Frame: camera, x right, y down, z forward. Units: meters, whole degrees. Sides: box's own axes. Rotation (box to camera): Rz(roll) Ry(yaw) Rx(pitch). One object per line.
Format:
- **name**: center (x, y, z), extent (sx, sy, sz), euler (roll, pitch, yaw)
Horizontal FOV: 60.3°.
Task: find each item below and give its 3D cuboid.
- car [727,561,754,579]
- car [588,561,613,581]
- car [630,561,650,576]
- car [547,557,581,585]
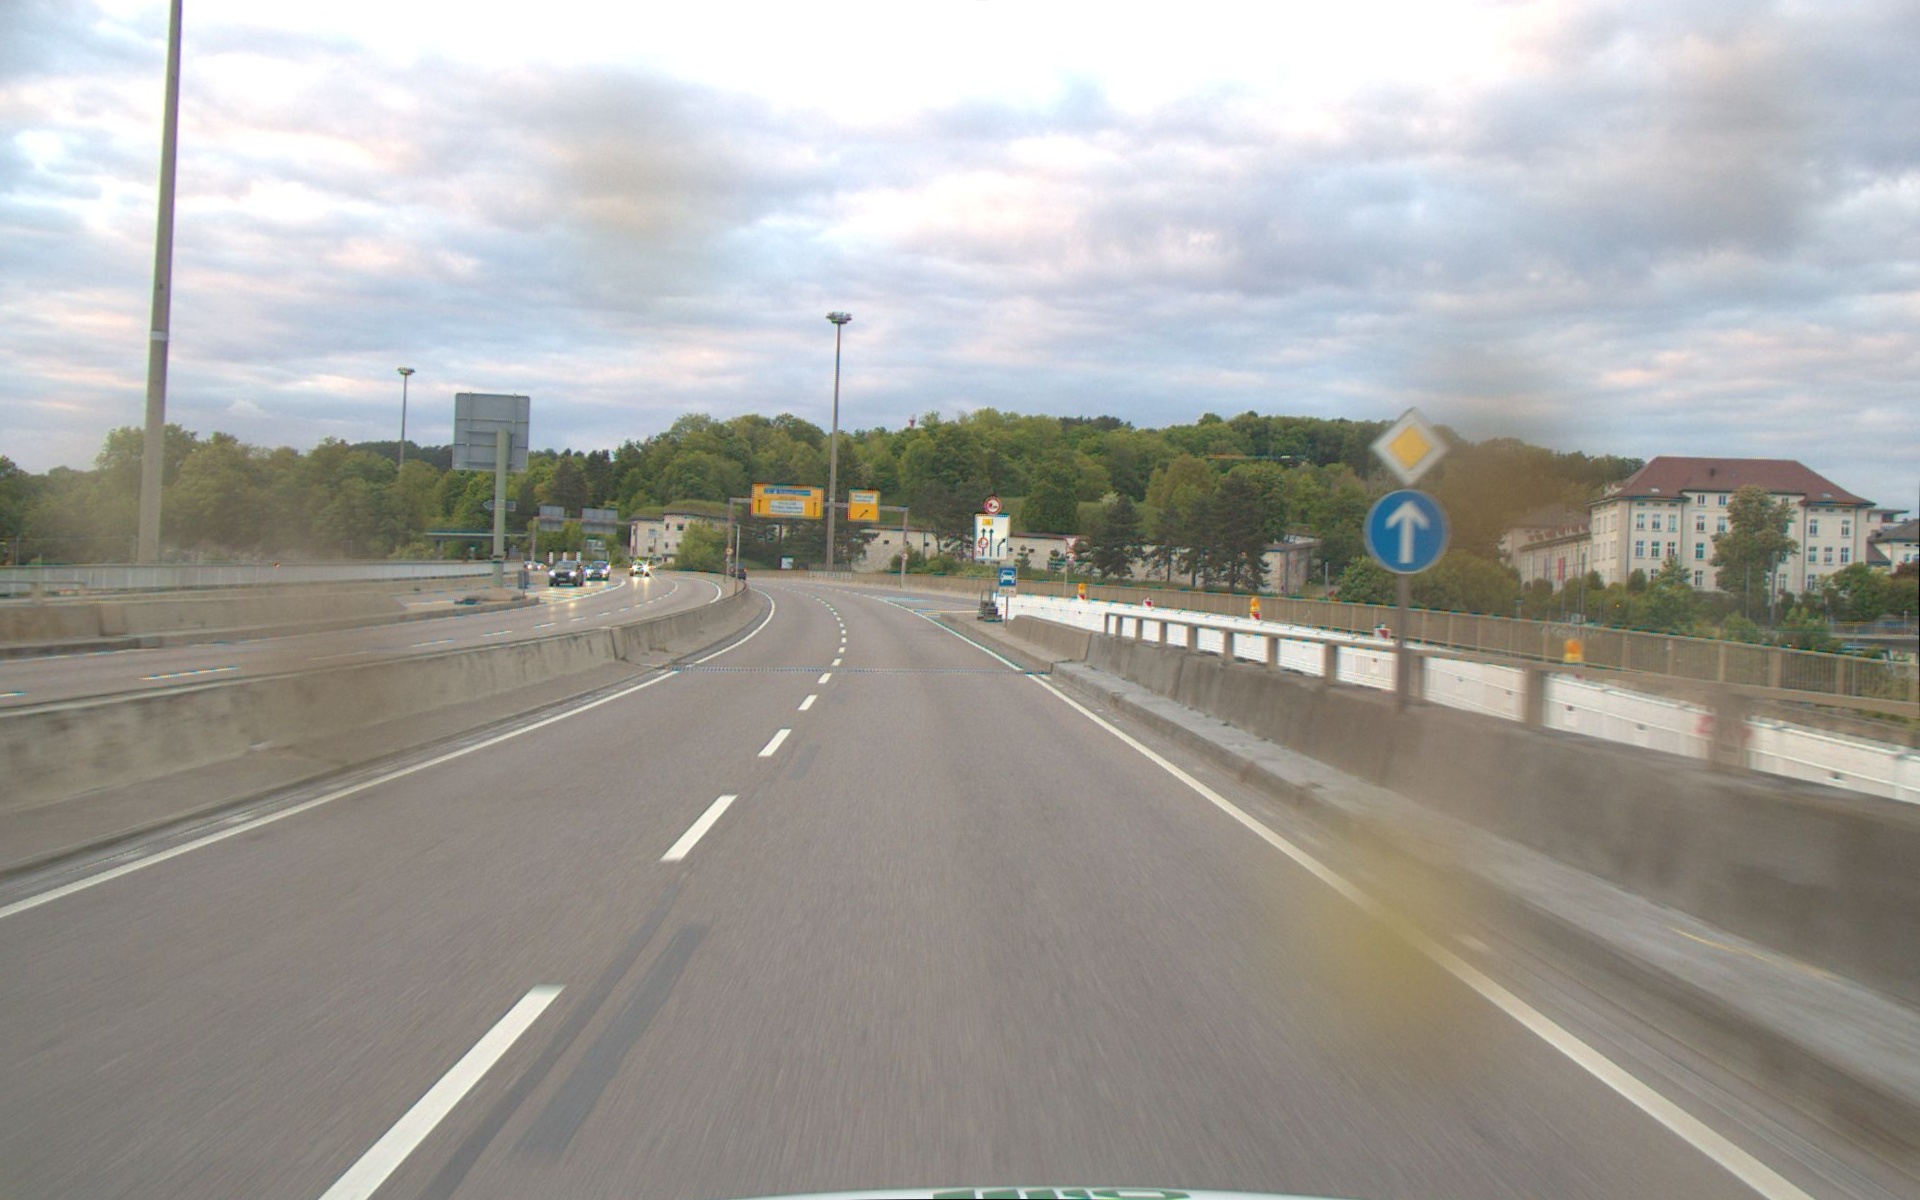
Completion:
- **car**: center (-24.489, -3.375, 184.267), extent (2.268, 1.794, 4.243), euler (3, 0, -17)
- **car**: center (-29.054, -2.352, 133.870), extent (1.763, 1.512, 3.833), euler (1, 1, -10)
- **car**: center (-32.325, -3.173, 167.105), extent (1.682, 1.520, 4.064), euler (1, 1, -15)
- **car**: center (-26.203, -1.934, 109.489), extent (1.605, 1.747, 3.995), euler (1, 1, -6)
